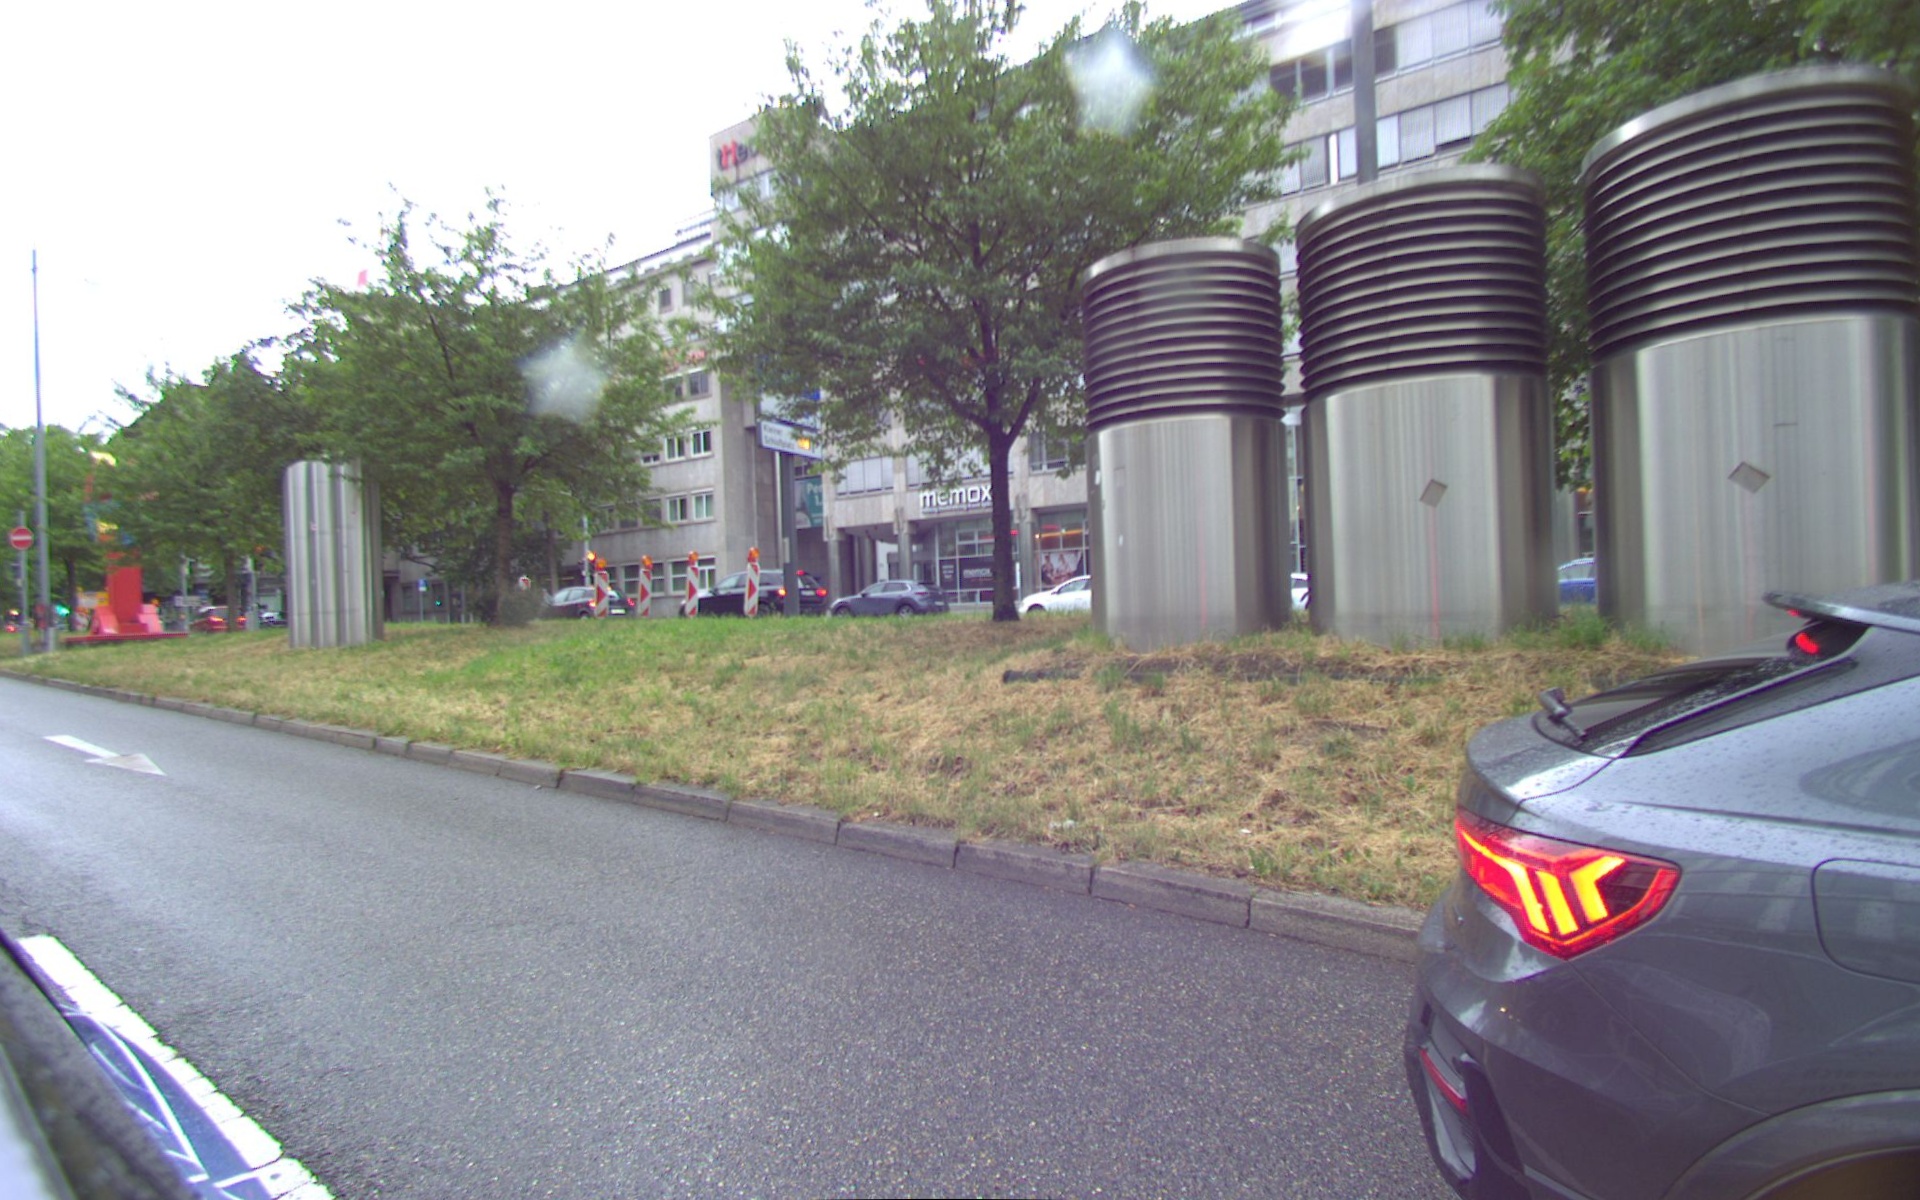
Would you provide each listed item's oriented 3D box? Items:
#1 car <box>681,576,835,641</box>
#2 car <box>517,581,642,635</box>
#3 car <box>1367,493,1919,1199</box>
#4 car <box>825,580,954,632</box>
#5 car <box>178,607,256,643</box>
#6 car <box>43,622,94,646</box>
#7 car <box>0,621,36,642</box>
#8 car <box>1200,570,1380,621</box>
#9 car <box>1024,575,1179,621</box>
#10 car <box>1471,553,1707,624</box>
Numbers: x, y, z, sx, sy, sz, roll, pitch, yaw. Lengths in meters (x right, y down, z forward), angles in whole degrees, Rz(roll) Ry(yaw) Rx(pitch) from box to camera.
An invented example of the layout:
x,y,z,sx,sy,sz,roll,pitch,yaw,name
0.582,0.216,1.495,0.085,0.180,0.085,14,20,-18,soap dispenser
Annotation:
x,y,z,sx,sy,sz,roll,pitch,yaw,name
-5.557,0.236,27.632,4.101,1.592,1.858,-1,2,38,car
-12.329,0.261,32.708,4.101,1.592,1.858,-1,2,38,car
2.920,0.592,0.991,4.338,1.529,1.843,-1,0,38,car
-2.368,0.212,33.467,4.096,1.592,1.558,-1,2,33,car
-37.324,1.257,50.786,4.101,1.599,2.048,-1,2,38,car
-65.566,2.469,74.416,4.101,1.599,2.048,-1,2,38,car
-81.173,2.670,86.831,4.101,1.599,2.048,-1,2,38,car
8.364,-0.109,25.786,4.096,1.130,1.558,-1,2,33,car
3.993,-0.053,28.866,4.096,1.130,1.558,-1,2,33,car
13.873,-0.240,22.524,4.308,1.395,1.662,-1,2,33,car
